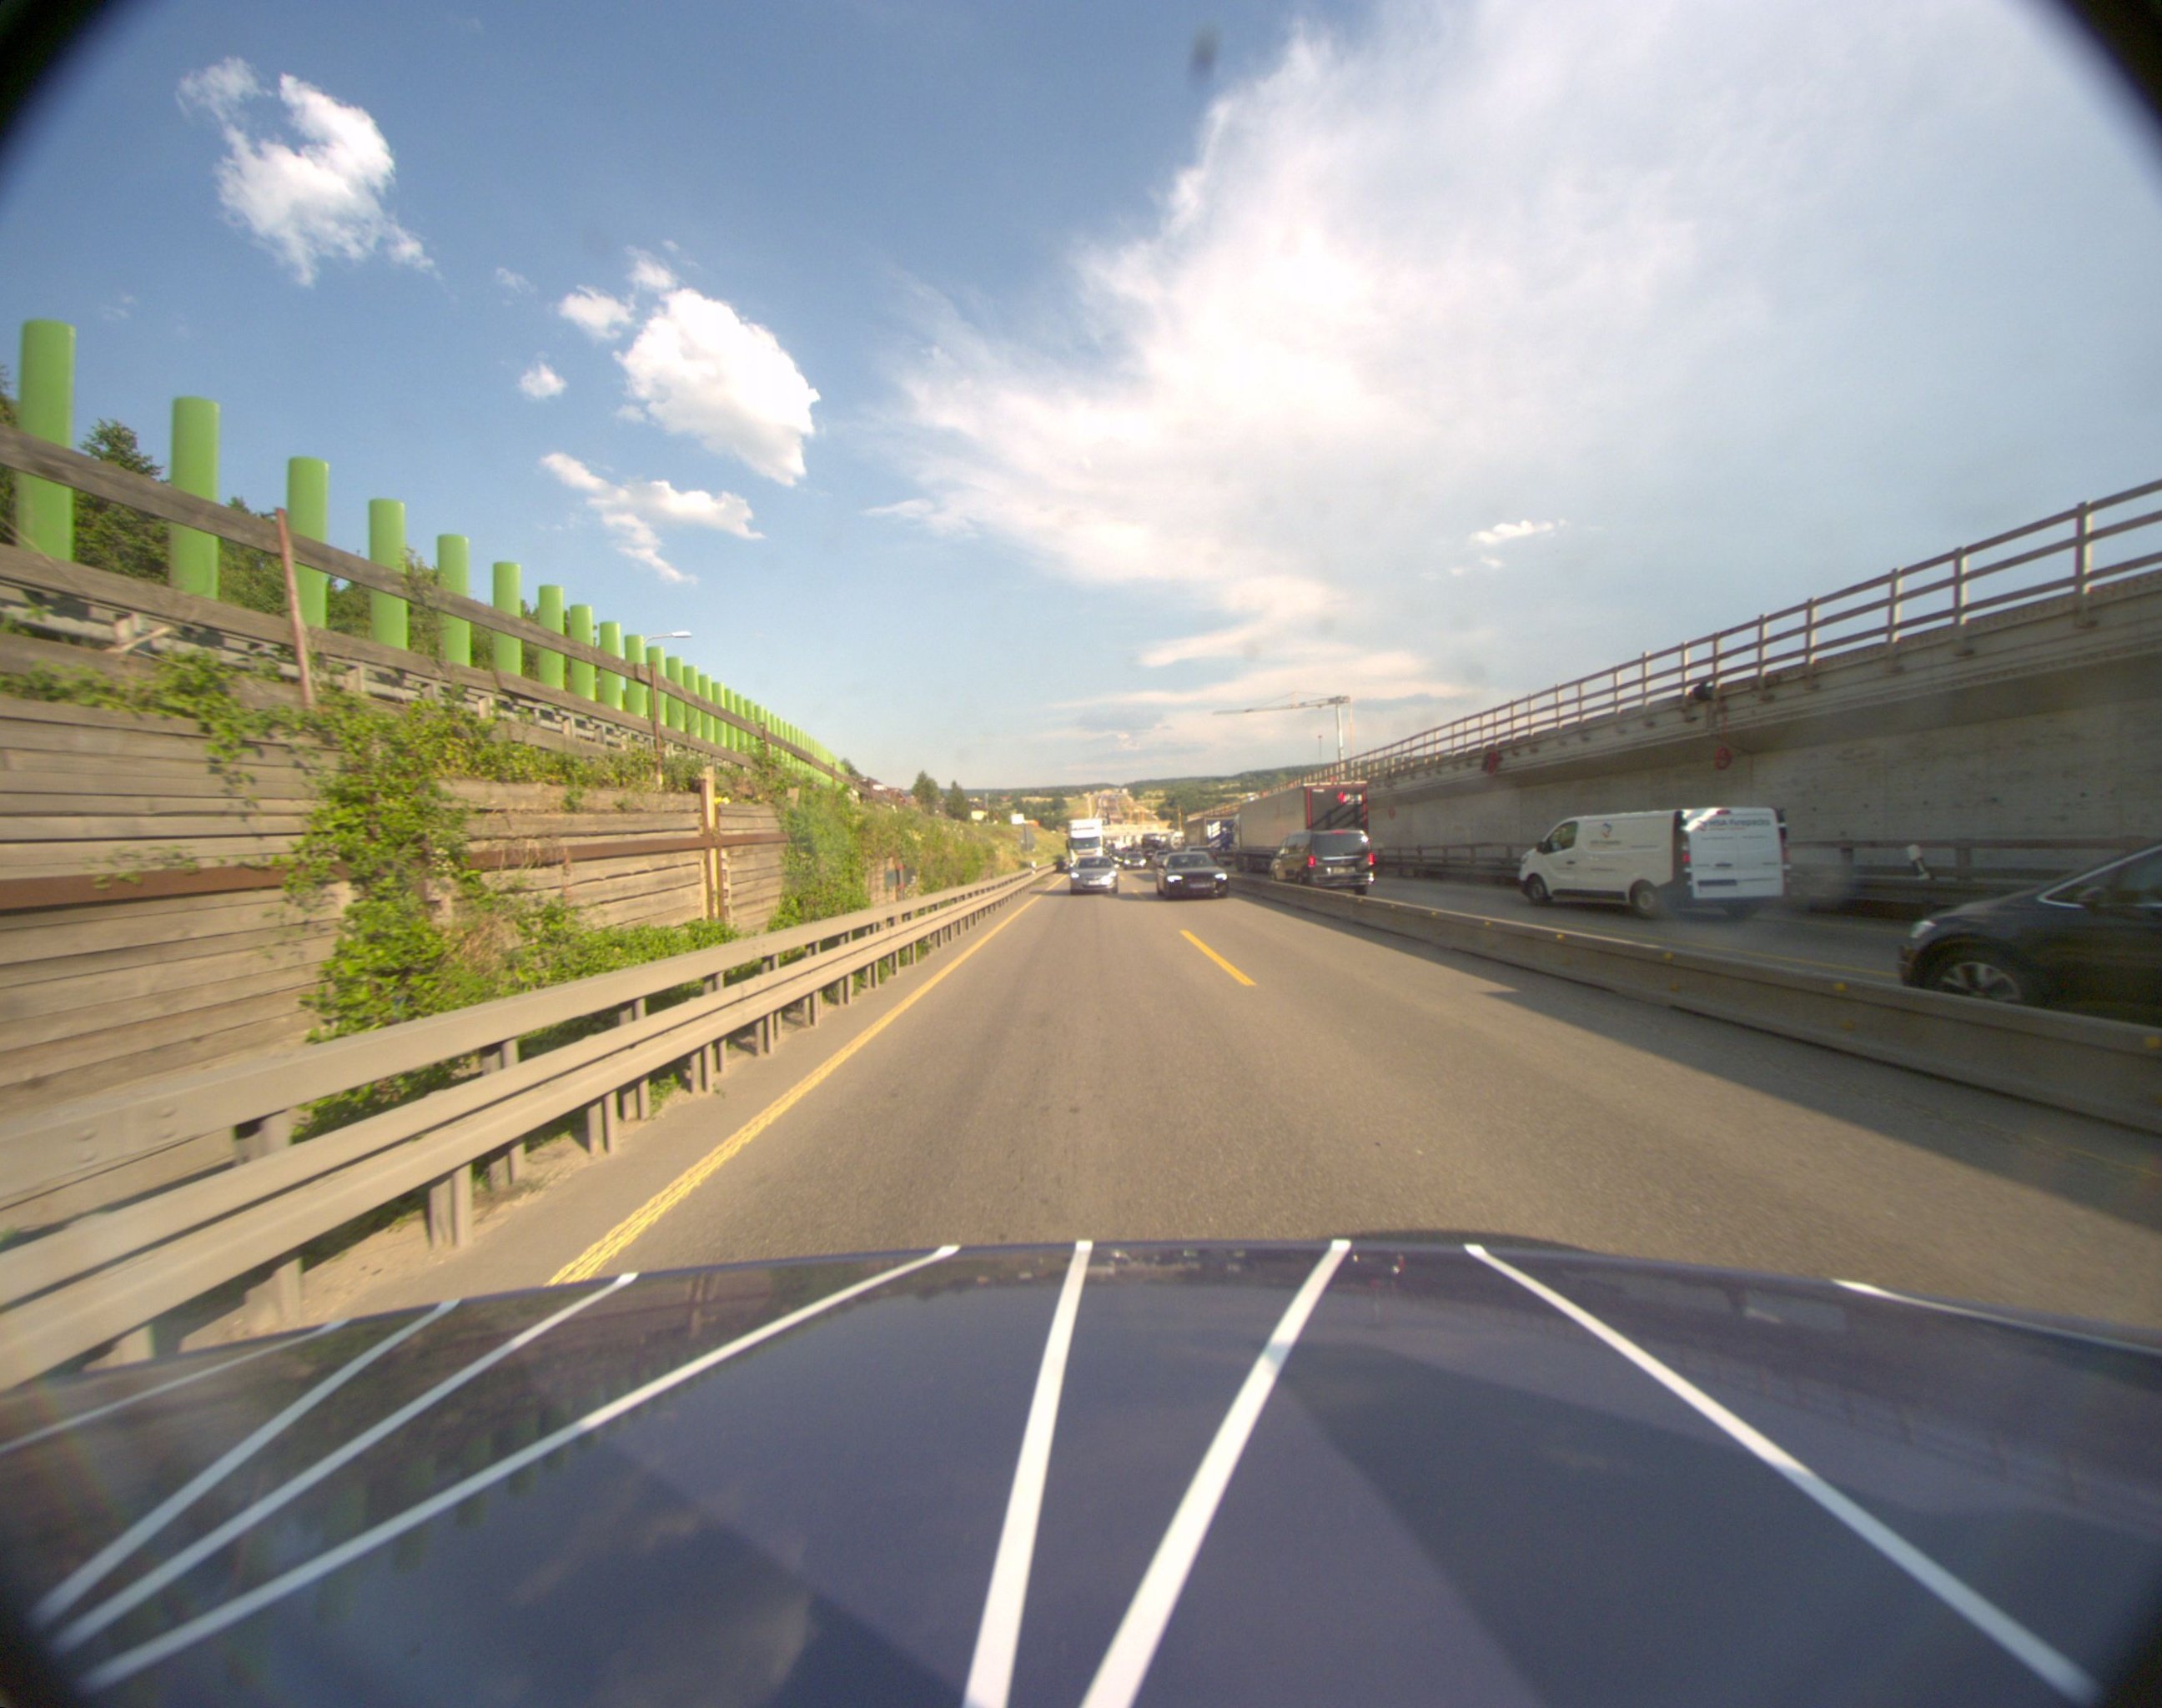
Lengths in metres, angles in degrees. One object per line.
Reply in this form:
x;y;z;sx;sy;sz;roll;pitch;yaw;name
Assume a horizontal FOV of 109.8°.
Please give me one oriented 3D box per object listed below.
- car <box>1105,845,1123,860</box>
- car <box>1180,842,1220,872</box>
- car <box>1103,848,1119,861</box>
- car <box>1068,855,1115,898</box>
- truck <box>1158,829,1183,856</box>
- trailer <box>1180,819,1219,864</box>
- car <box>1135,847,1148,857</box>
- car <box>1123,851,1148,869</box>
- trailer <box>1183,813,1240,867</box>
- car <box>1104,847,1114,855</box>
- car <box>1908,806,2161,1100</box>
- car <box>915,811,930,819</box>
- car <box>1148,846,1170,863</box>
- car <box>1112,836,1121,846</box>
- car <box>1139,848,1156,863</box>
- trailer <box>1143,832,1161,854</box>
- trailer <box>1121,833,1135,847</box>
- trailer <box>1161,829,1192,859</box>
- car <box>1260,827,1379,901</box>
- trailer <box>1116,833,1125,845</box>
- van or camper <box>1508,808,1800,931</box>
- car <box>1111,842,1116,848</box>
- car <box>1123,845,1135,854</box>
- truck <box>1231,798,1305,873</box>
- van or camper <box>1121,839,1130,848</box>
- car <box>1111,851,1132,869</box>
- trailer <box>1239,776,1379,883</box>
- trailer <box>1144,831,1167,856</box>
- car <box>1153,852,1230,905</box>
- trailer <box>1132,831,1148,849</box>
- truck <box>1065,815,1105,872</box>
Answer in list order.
3.930;-0.153;90.496;1.917;1.746;4.000;-1;0;0;car
7.684;0.141;49.404;1.826;1.762;5.139;-3;1;1;car
4.016;0.043;102.526;1.917;1.746;4.000;-1;0;0;car
0.413;0.820;29.218;1.671;1.425;3.524;-2;1;1;car
11.947;-1.554;101.797;2.555;3.390;5.530;-3;1;1;truck
11.388;-1.163;73.632;2.771;4.117;5.976;-3;0;2;trailer
9.439;-0.327;118.626;1.729;1.548;4.297;-3;0;1;car
4.426;0.499;62.547;1.692;1.294;3.882;-3;1;0;car
11.222;-1.111;66.930;2.771;4.117;14.026;-3;0;2;trailer
5.917;-0.592;159.780;1.998;1.696;4.000;-2;1;1;car
7.002;0.559;3.251;1.836;1.635;4.688;-3;1;1;car
-31.724;-7.834;152.356;1.998;1.434;4.000;-3;1;2;car
7.617;-0.002;74.307;1.645;1.451;4.595;-3;1;1;car
10.144;-3.682;219.115;1.999;2.608;7.407;-3;1;-2;car
8.177;0.205;93.666;1.645;1.635;4.688;-3;1;1;car
13.281;-2.069;142.520;2.778;4.008;7.207;-3;1;2;trailer
13.920;-4.256;226.324;2.933;4.014;13.770;-3;1;0;trailer
11.879;-1.315;95.300;2.563;3.506;10.680;-3;1;2;trailer
7.146;0.263;23.428;1.990;1.911;5.290;-3;1;1;car
13.916;-5.268;266.849;2.834;4.258;8.734;-3;1;1;trailer
10.735;0.231;14.862;1.922;1.911;4.922;-3;1;0;van or camper
10.922;-3.035;255.740;1.785;1.833;4.852;-3;1;1;car
8.939;-0.904;141.454;1.770;1.543;4.835;-3;1;0;car
10.818;-1.086;44.527;2.867;3.985;5.657;-3;1;1;truck
11.719;-2.759;199.191;1.863;2.002;5.294;-3;1;0;van or camper
4.259;0.607;80.916;1.998;1.740;4.000;-2;1;1;car
10.722;-1.131;37.867;2.920;4.216;13.766;-3;1;1;trailer
13.056;-1.905;135.060;2.778;4.008;15.761;-3;1;2;trailer
3.407;0.701;24.242;1.873;1.411;4.348;-2;1;1;car
13.973;-3.318;179.818;2.659;3.828;13.440;-3;1;1;trailer
0.494;-0.881;61.900;2.741;4.033;12.669;-3;1;2;truck
